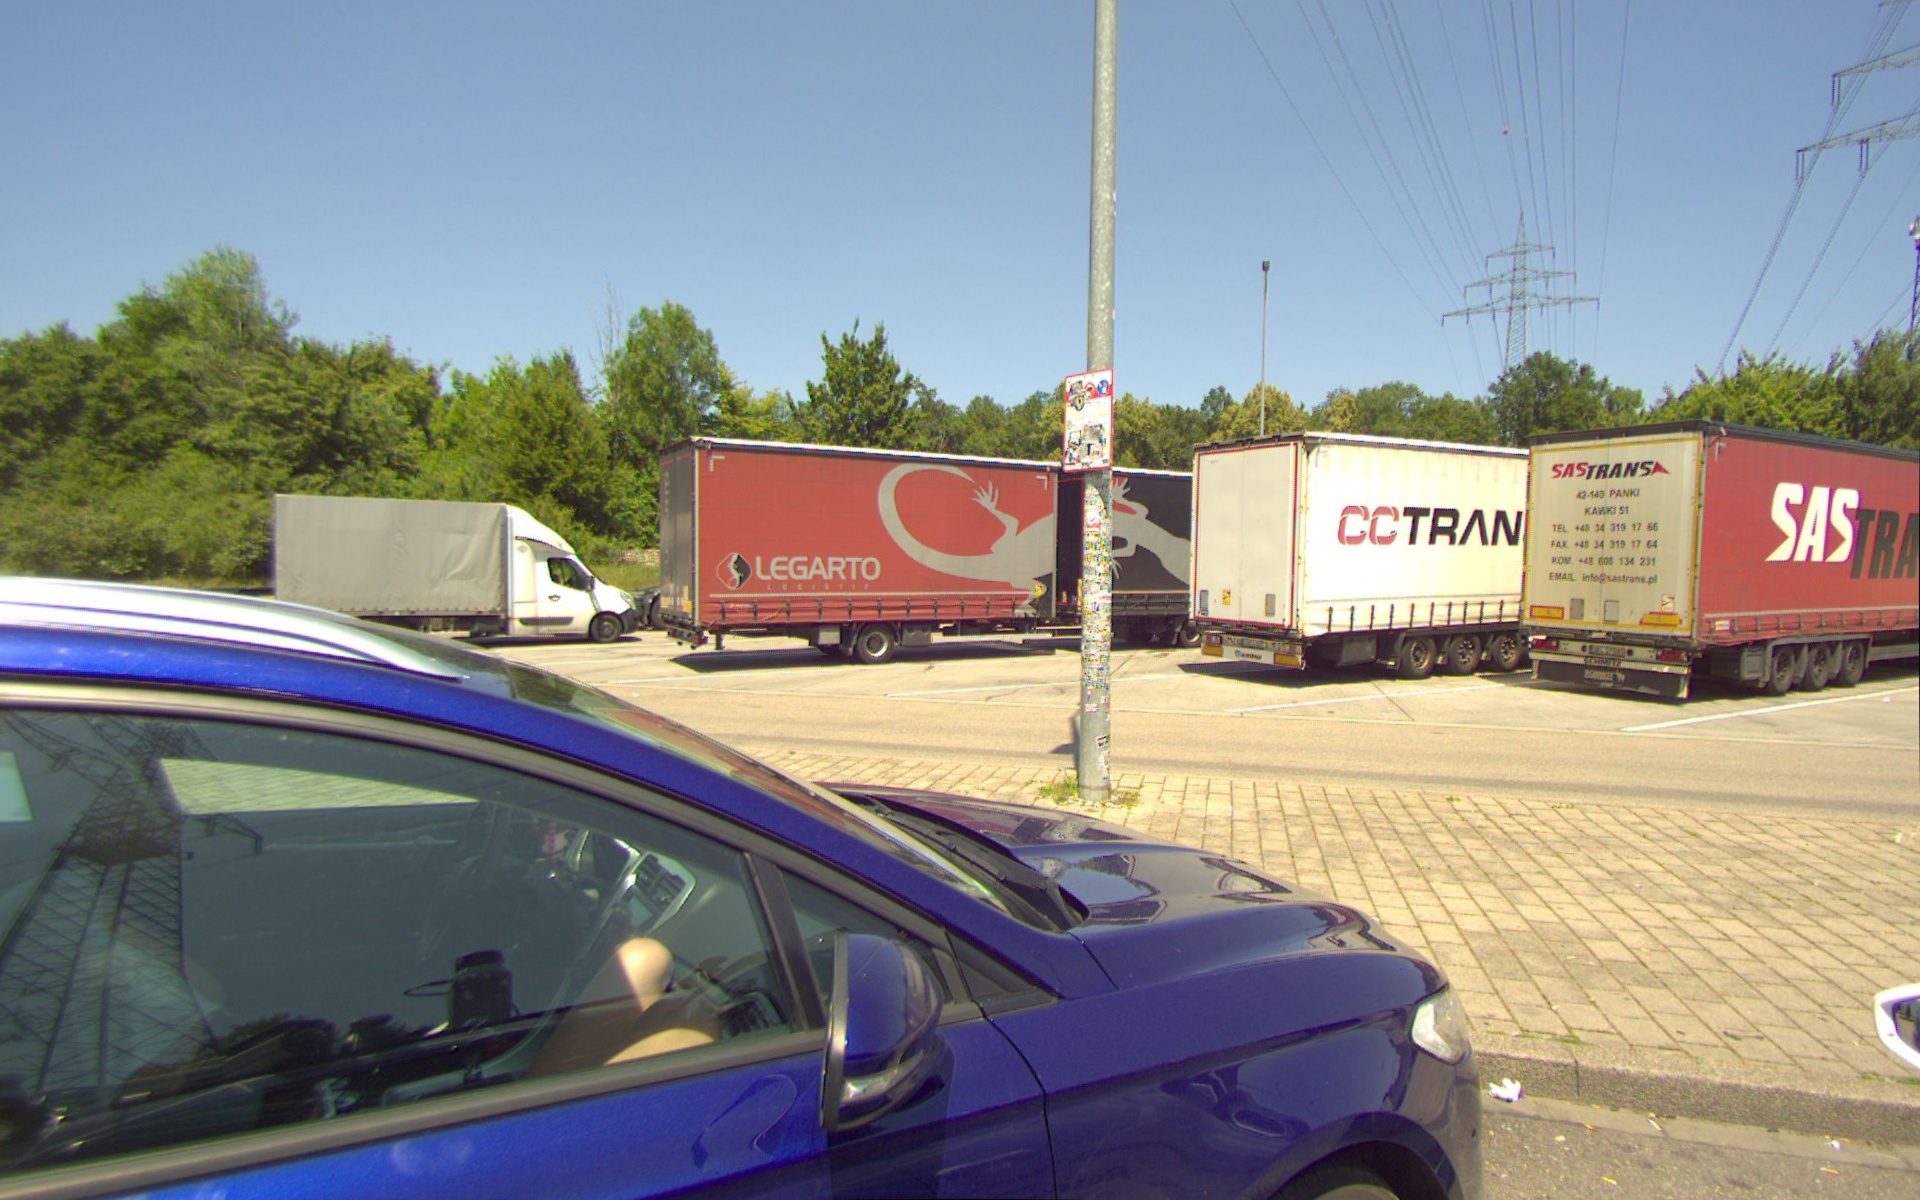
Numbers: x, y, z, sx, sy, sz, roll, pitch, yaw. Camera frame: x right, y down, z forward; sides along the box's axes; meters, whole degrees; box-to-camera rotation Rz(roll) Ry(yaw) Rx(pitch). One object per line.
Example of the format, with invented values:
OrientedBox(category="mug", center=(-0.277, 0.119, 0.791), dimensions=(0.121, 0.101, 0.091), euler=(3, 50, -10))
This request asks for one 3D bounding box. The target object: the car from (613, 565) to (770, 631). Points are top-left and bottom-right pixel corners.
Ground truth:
OrientedBox(category="car", center=(-7.609, -0.053, 28.524), dimensions=(3.953, 1.773, 1.902), euler=(0, 0, -30))

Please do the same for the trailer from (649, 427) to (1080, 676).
OrientedBox(category="trailer", center=(-1.748, -0.932, 20.512), dimensions=(8.389, 4.248, 2.800), euler=(-1, 2, -30))

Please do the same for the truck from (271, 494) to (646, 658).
OrientedBox(category="truck", center=(-11.119, -0.591, 22.882), dimensions=(7.219, 3.277, 2.308), euler=(-2, 3, -29))

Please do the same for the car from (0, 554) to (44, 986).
OrientedBox(category="car", center=(-4.618, 0.557, 2.124), dimensions=(3.700, 1.432, 1.595), euler=(0, 0, -32))

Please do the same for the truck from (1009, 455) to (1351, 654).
OrientedBox(category="truck", center=(5.598, -1.081, 24.835), dimensions=(8.683, 4.248, 2.800), euler=(-1, 2, -30))

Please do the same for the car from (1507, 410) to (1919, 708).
OrientedBox(category="car", center=(15.212, -0.693, 18.460), dimensions=(12.777, 4.169, 2.683), euler=(-1, 3, -30))

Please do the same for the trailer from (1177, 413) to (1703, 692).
OrientedBox(category="trailer", center=(10.106, -0.883, 20.073), dimensions=(12.786, 4.325, 2.800), euler=(-1, 2, -31))

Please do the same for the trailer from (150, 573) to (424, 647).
OrientedBox(category="trailer", center=(-15.954, 0.235, 24.189), dimensions=(5.332, 1.617, 1.585), euler=(0, 0, -30))

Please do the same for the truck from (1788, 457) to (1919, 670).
OrientedBox(category="truck", center=(21.137, -0.773, 21.870), dimensions=(6.163, 4.169, 2.683), euler=(-1, 3, -30))

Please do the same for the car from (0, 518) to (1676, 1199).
OrientedBox(category="car", center=(-0.992, 0.672, 1.472), dimensions=(4.380, 1.464, 1.771), euler=(0, 0, -32))
